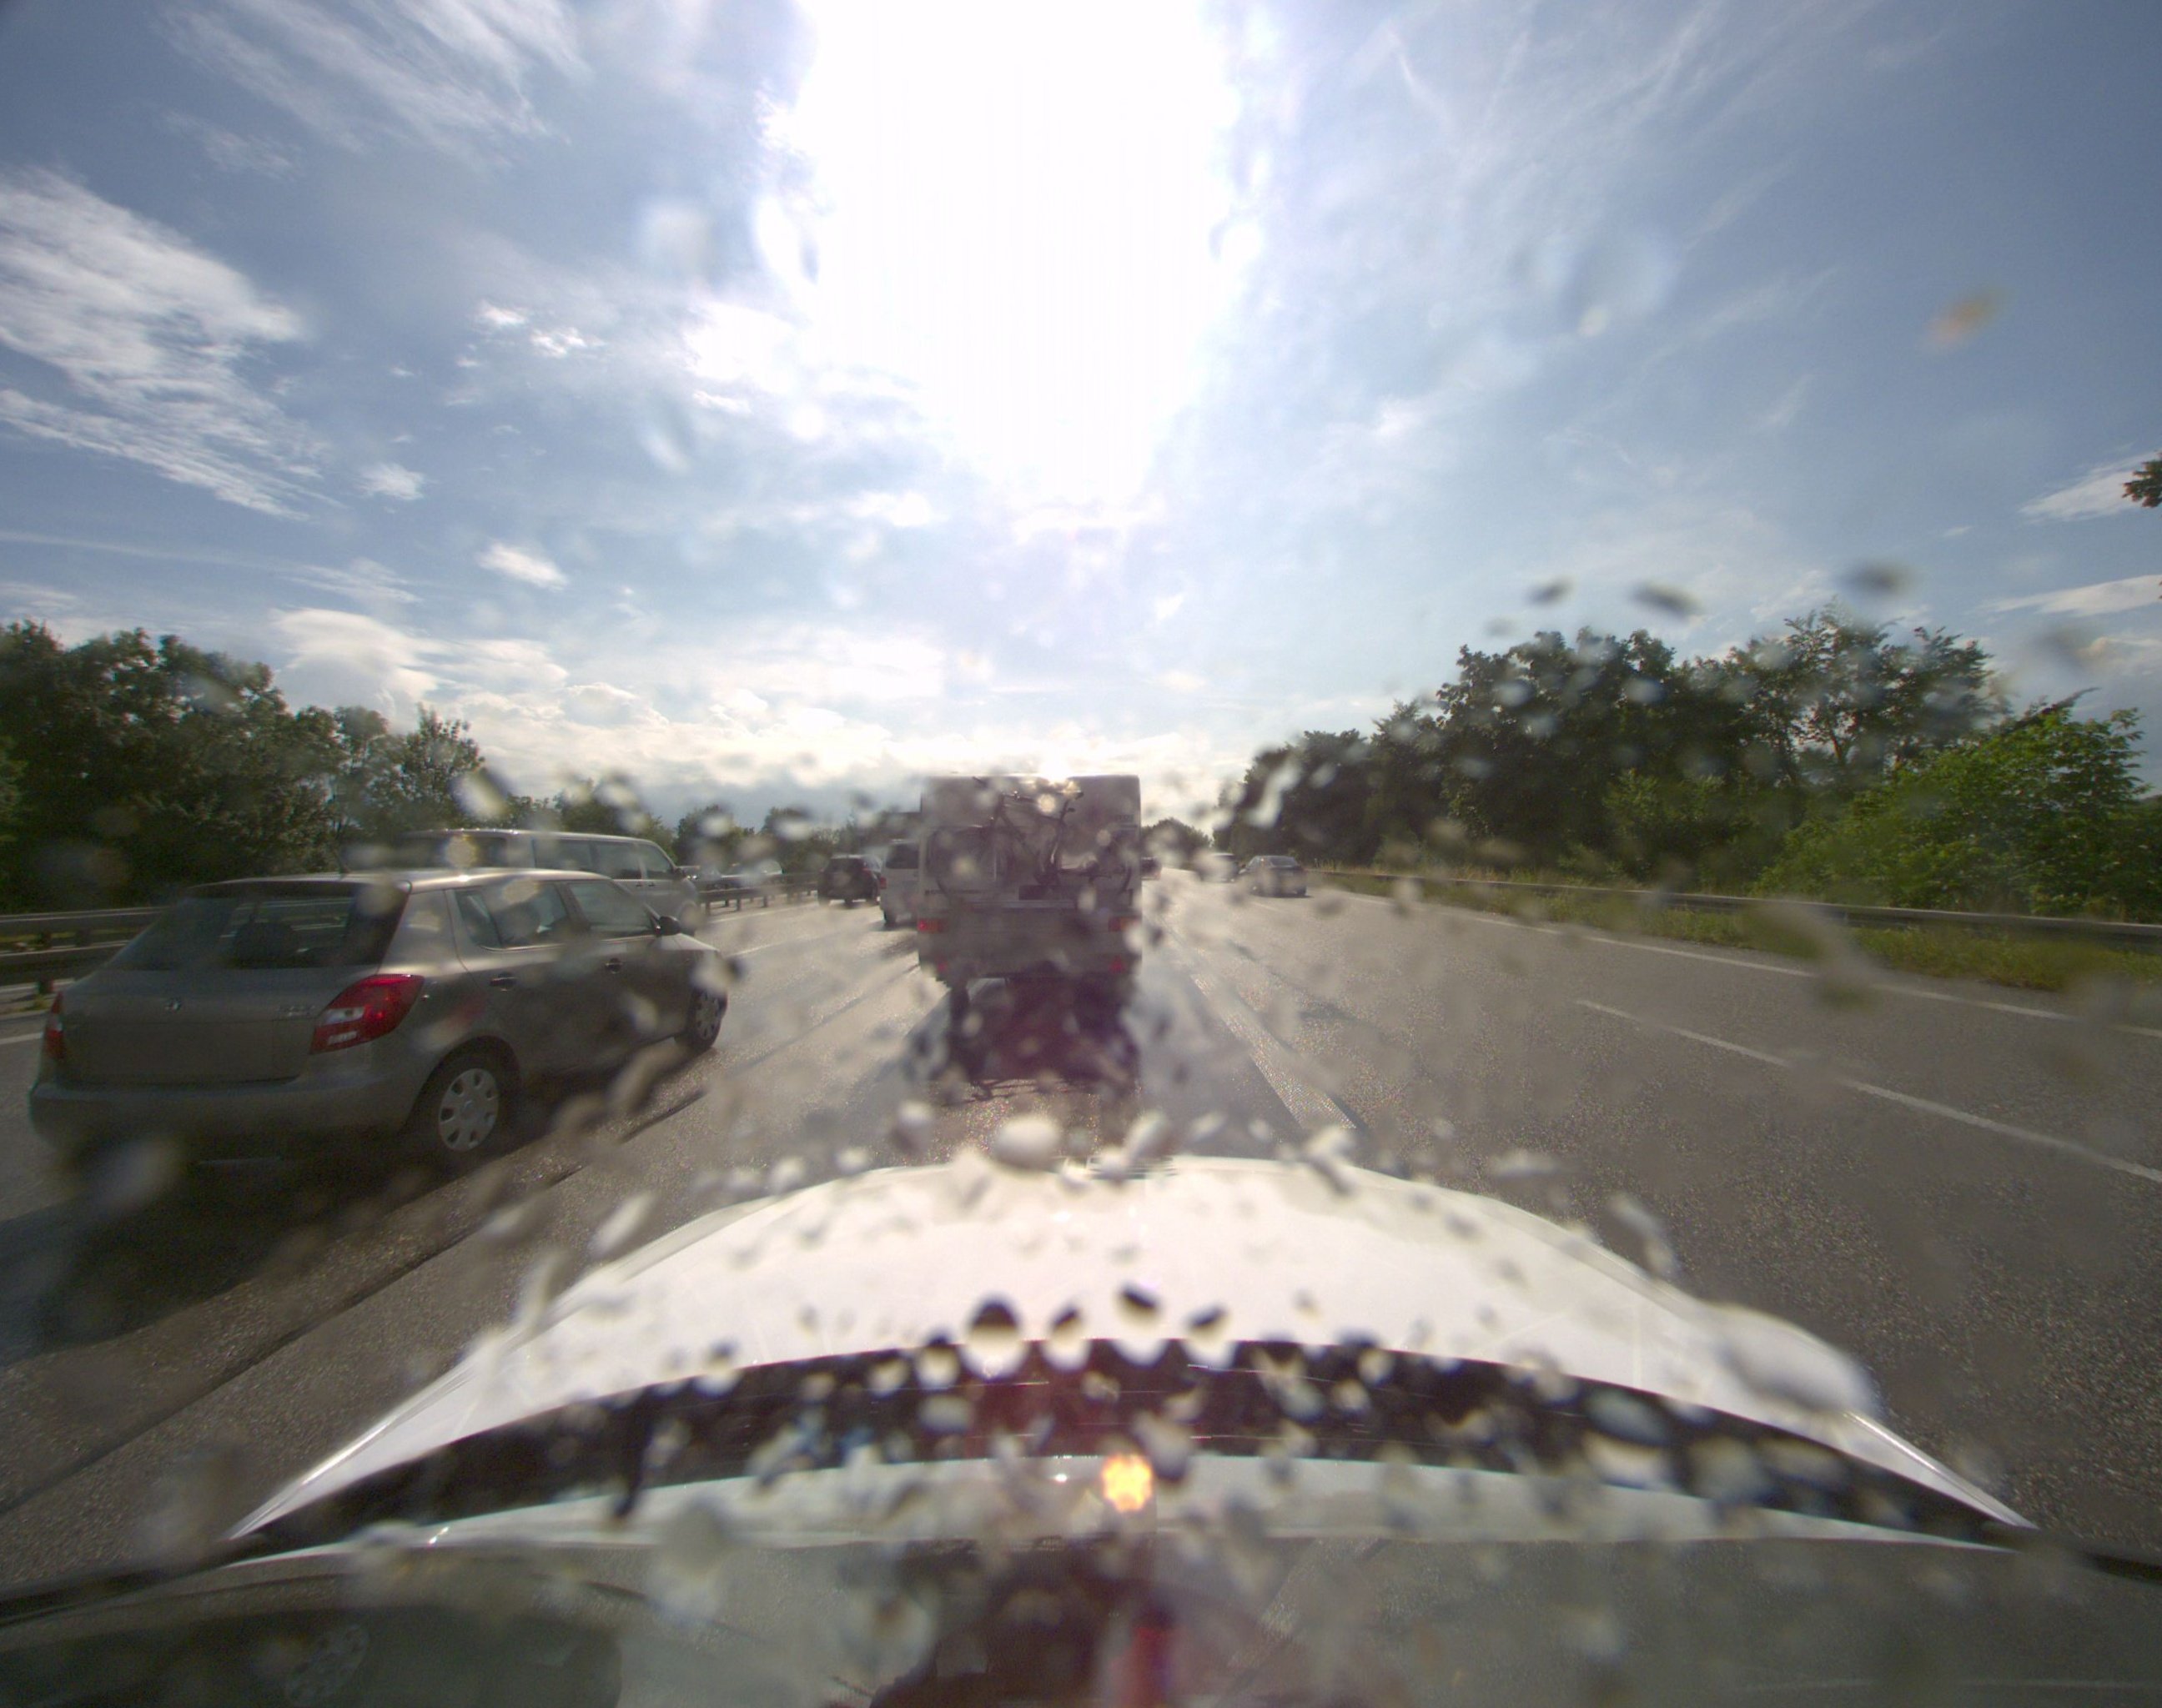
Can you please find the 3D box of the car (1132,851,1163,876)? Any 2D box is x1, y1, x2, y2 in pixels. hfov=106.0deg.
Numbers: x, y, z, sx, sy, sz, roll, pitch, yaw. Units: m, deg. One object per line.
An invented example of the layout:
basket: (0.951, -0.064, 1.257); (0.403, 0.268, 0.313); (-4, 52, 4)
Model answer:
car: (4.328, 0.626, 53.406); (1.828, 1.558, 4.001); (0, -1, 2)

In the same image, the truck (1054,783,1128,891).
truck: (0.461, -0.698, 40.517); (3.136, 4.626, 10.734); (-1, 0, 0)

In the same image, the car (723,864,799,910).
car: (-15.003, 1.491, 38.413); (1.987, 1.990, 3.999); (-1, 0, 0)

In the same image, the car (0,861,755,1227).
car: (-3.920, 0.800, 5.255); (1.980, 1.458, 3.828); (-1, 0, 2)

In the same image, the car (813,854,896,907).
car: (-7.503, 0.839, 27.342); (1.767, 1.662, 3.997); (0, -1, -1)

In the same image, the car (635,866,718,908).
car: (-19.288, 1.534, 39.044); (1.987, 1.838, 3.999); (-1, 0, 0)

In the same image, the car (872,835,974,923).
car: (-3.891, 0.585, 20.669); (1.871, 2.014, 3.997); (0, -1, -1)

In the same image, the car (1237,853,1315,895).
car: (7.360, 0.723, 31.127); (1.872, 1.494, 3.996); (0, -1, -3)

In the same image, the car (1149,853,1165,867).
car: (9.413, 0.706, 101.465); (1.713, 1.684, 4.002); (-1, 0, 2)

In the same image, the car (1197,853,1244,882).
car: (8.060, 0.777, 47.444); (1.872, 1.629, 3.996); (0, -1, -3)

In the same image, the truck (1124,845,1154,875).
truck: (4.998, 0.526, 70.909); (2.406, 2.444, 6.055); (-1, 0, 2)

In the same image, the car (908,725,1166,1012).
car: (-0.351, 0.153, 9.642); (2.401, 2.674, 4.001); (0, -1, 2)

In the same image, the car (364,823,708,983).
car: (-7.826, 0.605, 12.493); (1.841, 1.934, 5.016); (-1, 0, 0)

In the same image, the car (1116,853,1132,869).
car: (4.761, 0.753, 91.210); (1.713, 1.684, 4.002); (-1, 0, 2)

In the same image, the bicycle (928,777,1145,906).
bicycle: (-0.394, -0.108, 7.459); (1.927, 1.141, 0.384); (0, -1, 1)
